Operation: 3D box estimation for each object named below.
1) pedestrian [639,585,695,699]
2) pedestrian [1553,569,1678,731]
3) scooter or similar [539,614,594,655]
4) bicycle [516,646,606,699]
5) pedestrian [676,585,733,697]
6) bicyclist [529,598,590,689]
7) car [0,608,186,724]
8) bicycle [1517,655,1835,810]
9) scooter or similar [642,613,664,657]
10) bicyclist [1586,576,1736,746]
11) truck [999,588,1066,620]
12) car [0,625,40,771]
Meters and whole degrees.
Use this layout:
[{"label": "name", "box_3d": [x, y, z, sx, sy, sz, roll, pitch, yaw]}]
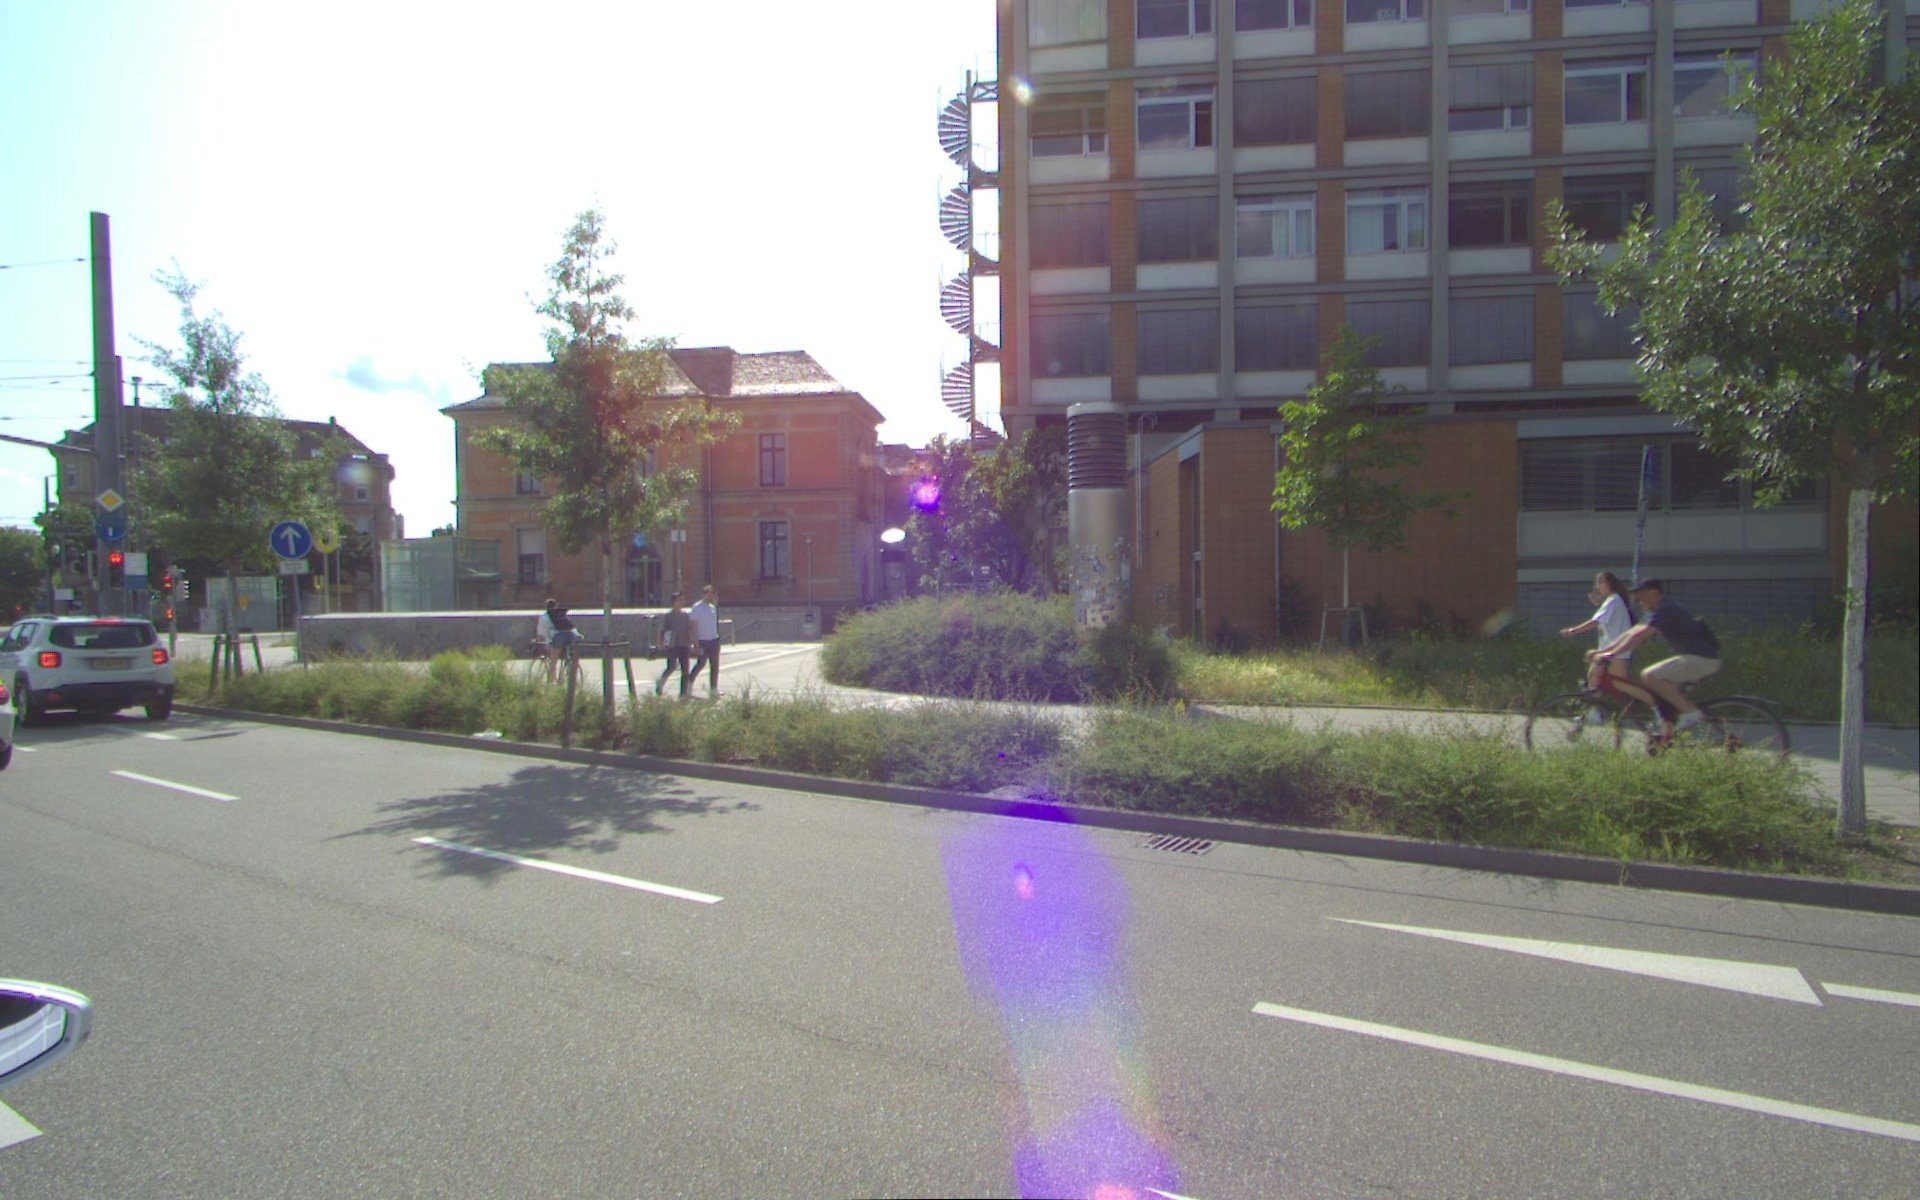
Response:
[{"label": "pedestrian", "box_3d": [-4.800, 0.663, 16.383, 0.732, 1.778, 0.887, -3, 2, -21]}, {"label": "pedestrian", "box_3d": [7.008, 0.520, 10.748, 1.081, 1.645, 0.612, -1, 3, 32]}, {"label": "scooter or similar", "box_3d": [-11.250, 0.985, 28.614, 1.420, 1.133, 0.465, 0, 2, 13]}, {"label": "bicycle", "box_3d": [-6.616, 1.181, 16.584, 1.599, 0.786, 0.583, -1, 0, 34]}, {"label": "pedestrian", "box_3d": [-4.247, 0.656, 16.641, 0.732, 1.770, 0.887, -3, 2, -21]}, {"label": "bicyclist", "box_3d": [-6.631, 0.704, 16.580, 0.763, 1.470, 0.606, 0, 0, 33]}, {"label": "car", "box_3d": [-14.380, 1.004, 16.395, 3.951, 1.673, 1.829, -2, -1, 39]}, {"label": "bicycle", "box_3d": [5.490, 0.972, 7.850, 1.932, 0.983, 0.845, -1, 3, 32]}, {"label": "scooter or similar", "box_3d": [-8.338, 0.938, 27.236, 0.457, 1.119, 1.316, -1, 1, -13]}, {"label": "bicyclist", "box_3d": [5.438, 0.443, 7.828, 0.910, 1.237, 0.633, 0, 3, 32]}, {"label": "truck", "box_3d": [4.917, 0.278, 67.496, 4.304, 2.039, 2.000, 0, -2, 11]}, {"label": "car", "box_3d": [-11.318, 0.995, 10.469, 3.631, 1.437, 1.844, -1, -1, 36]}]
